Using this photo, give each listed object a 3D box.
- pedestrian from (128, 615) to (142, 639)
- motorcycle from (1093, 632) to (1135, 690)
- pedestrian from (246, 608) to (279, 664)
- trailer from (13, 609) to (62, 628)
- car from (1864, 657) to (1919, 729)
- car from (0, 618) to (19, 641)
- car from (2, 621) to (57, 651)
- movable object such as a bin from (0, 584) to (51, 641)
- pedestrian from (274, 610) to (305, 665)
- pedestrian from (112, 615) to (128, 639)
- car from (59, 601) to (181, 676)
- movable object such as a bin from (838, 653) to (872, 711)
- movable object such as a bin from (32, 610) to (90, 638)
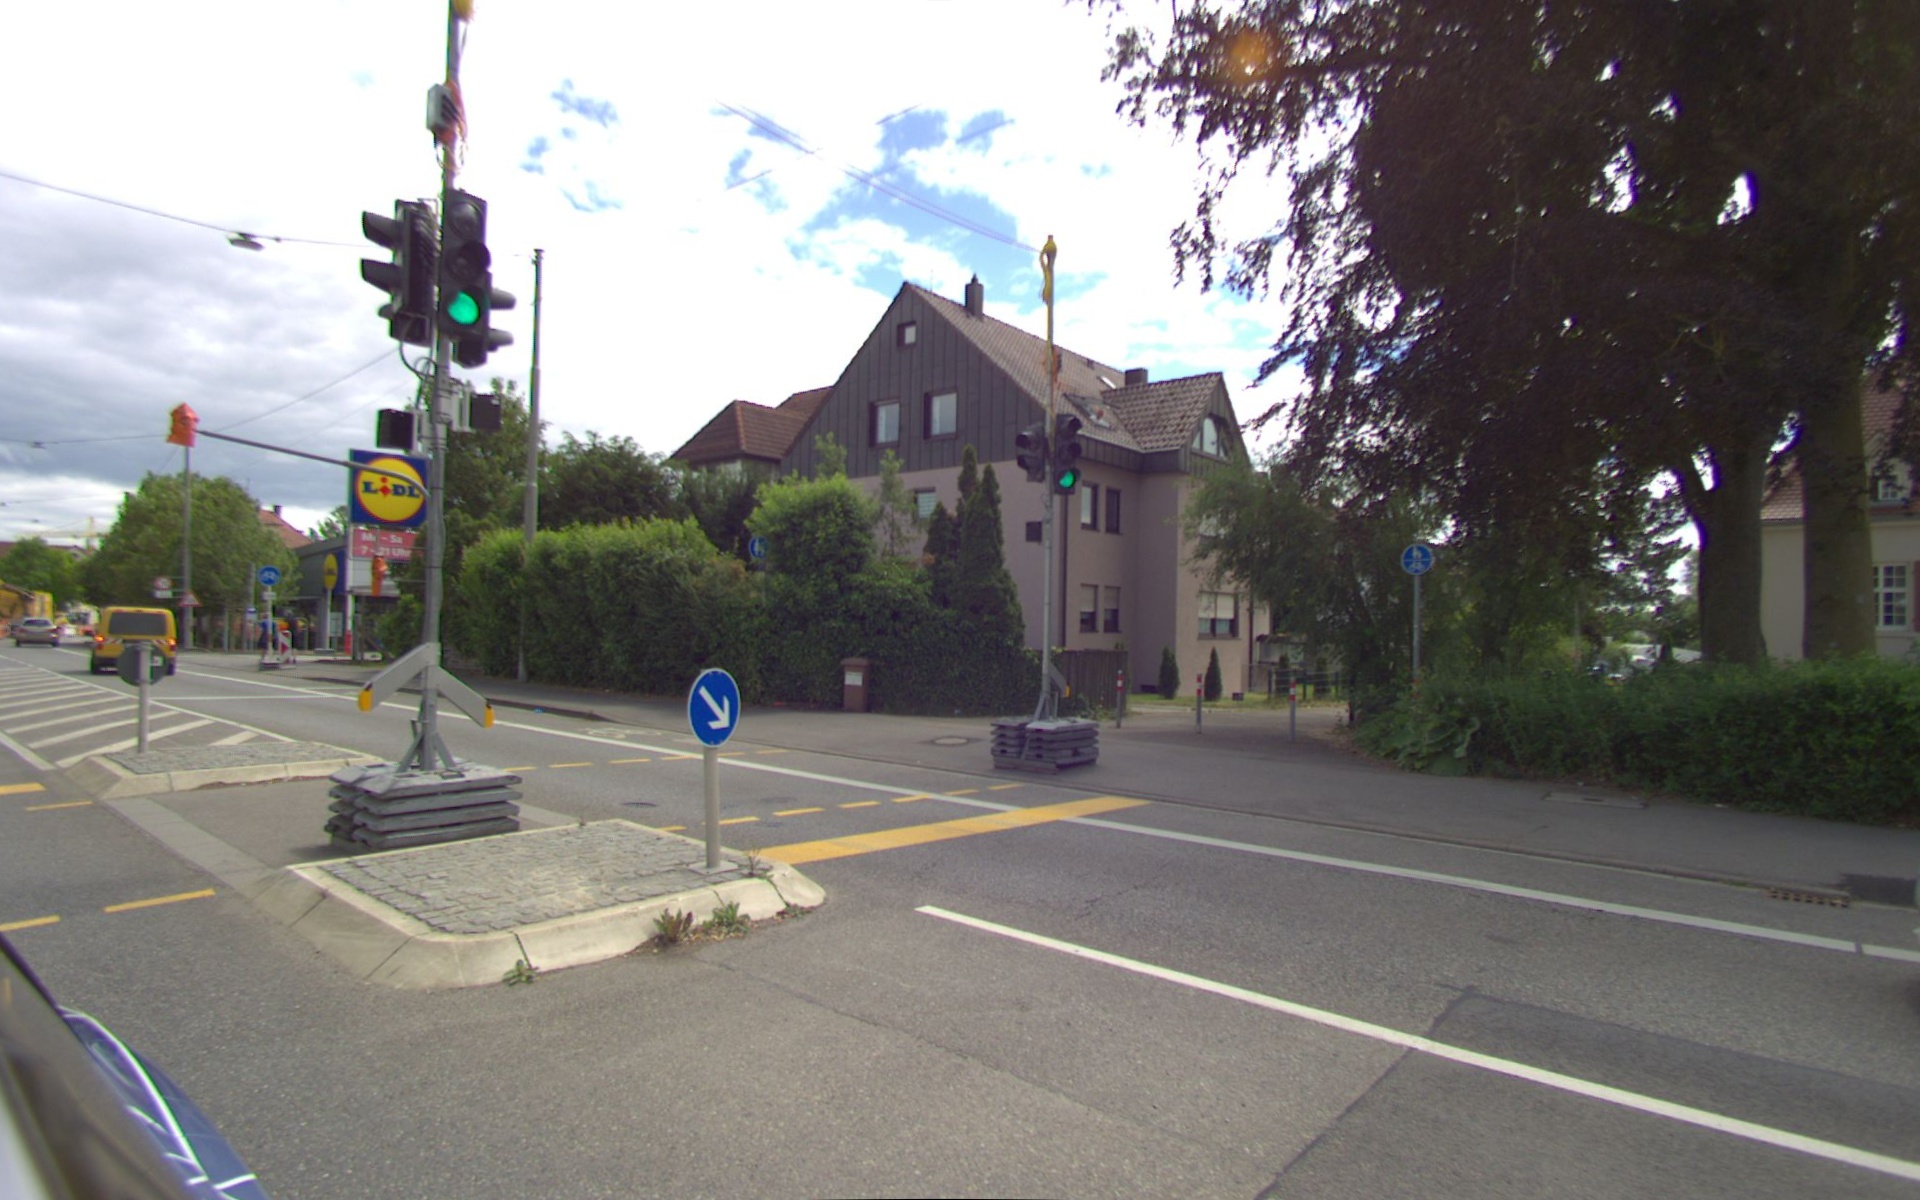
[{"bbox_3d":[-63.652,2.085,78.088,0.616,1.861,0.624,2,-3,-20],"label":"pedestrian"},{"bbox_3d":[3.898,1.528,25.620,0.545,1.431,1.431,2,-3,-12],"label":"motorcycle"},{"bbox_3d":[-23.739,1.225,34.442,0.892,1.868,0.674,0,-3,42],"label":"pedestrian"},{"bbox_3d":[-112.649,2.282,123.641,2.556,2.262,5.692,-1,-2,-22],"label":"trailer"},{"bbox_3d":[22.598,2.093,22.352,3.871,1.564,1.845,-1,-2,41],"label":"car"},{"bbox_3d":[-63.070,1.881,65.987,4.809,1.410,1.972,-1,-4,42],"label":"car"},{"bbox_3d":[-50.484,1.932,54.891,4.400,1.567,1.731,-1,-3,42],"label":"car"},{"bbox_3d":[-75.588,1.047,80.948,2.556,4.253,11.149,3,-3,-34],"label":"movable object such as a bin"},{"bbox_3d":[-23.169,1.289,34.959,0.706,1.868,0.674,-1,-3,41],"label":"pedestrian"},{"bbox_3d":[-64.292,2.063,77.427,0.685,1.861,0.624,2,-3,-20],"label":"pedestrian"},{"bbox_3d":[-23.365,1.037,28.094,4.683,1.919,1.822,-1,-3,41],"label":"car"},{"bbox_3d":[-1.776,1.386,17.183,0.532,0.960,0.556,1,-2,-2],"label":"movable object such as a bin"},{"bbox_3d":[-90.433,2.429,101.930,1.965,2.646,6.543,2,-3,-20],"label":"movable object such as a bin"}]
